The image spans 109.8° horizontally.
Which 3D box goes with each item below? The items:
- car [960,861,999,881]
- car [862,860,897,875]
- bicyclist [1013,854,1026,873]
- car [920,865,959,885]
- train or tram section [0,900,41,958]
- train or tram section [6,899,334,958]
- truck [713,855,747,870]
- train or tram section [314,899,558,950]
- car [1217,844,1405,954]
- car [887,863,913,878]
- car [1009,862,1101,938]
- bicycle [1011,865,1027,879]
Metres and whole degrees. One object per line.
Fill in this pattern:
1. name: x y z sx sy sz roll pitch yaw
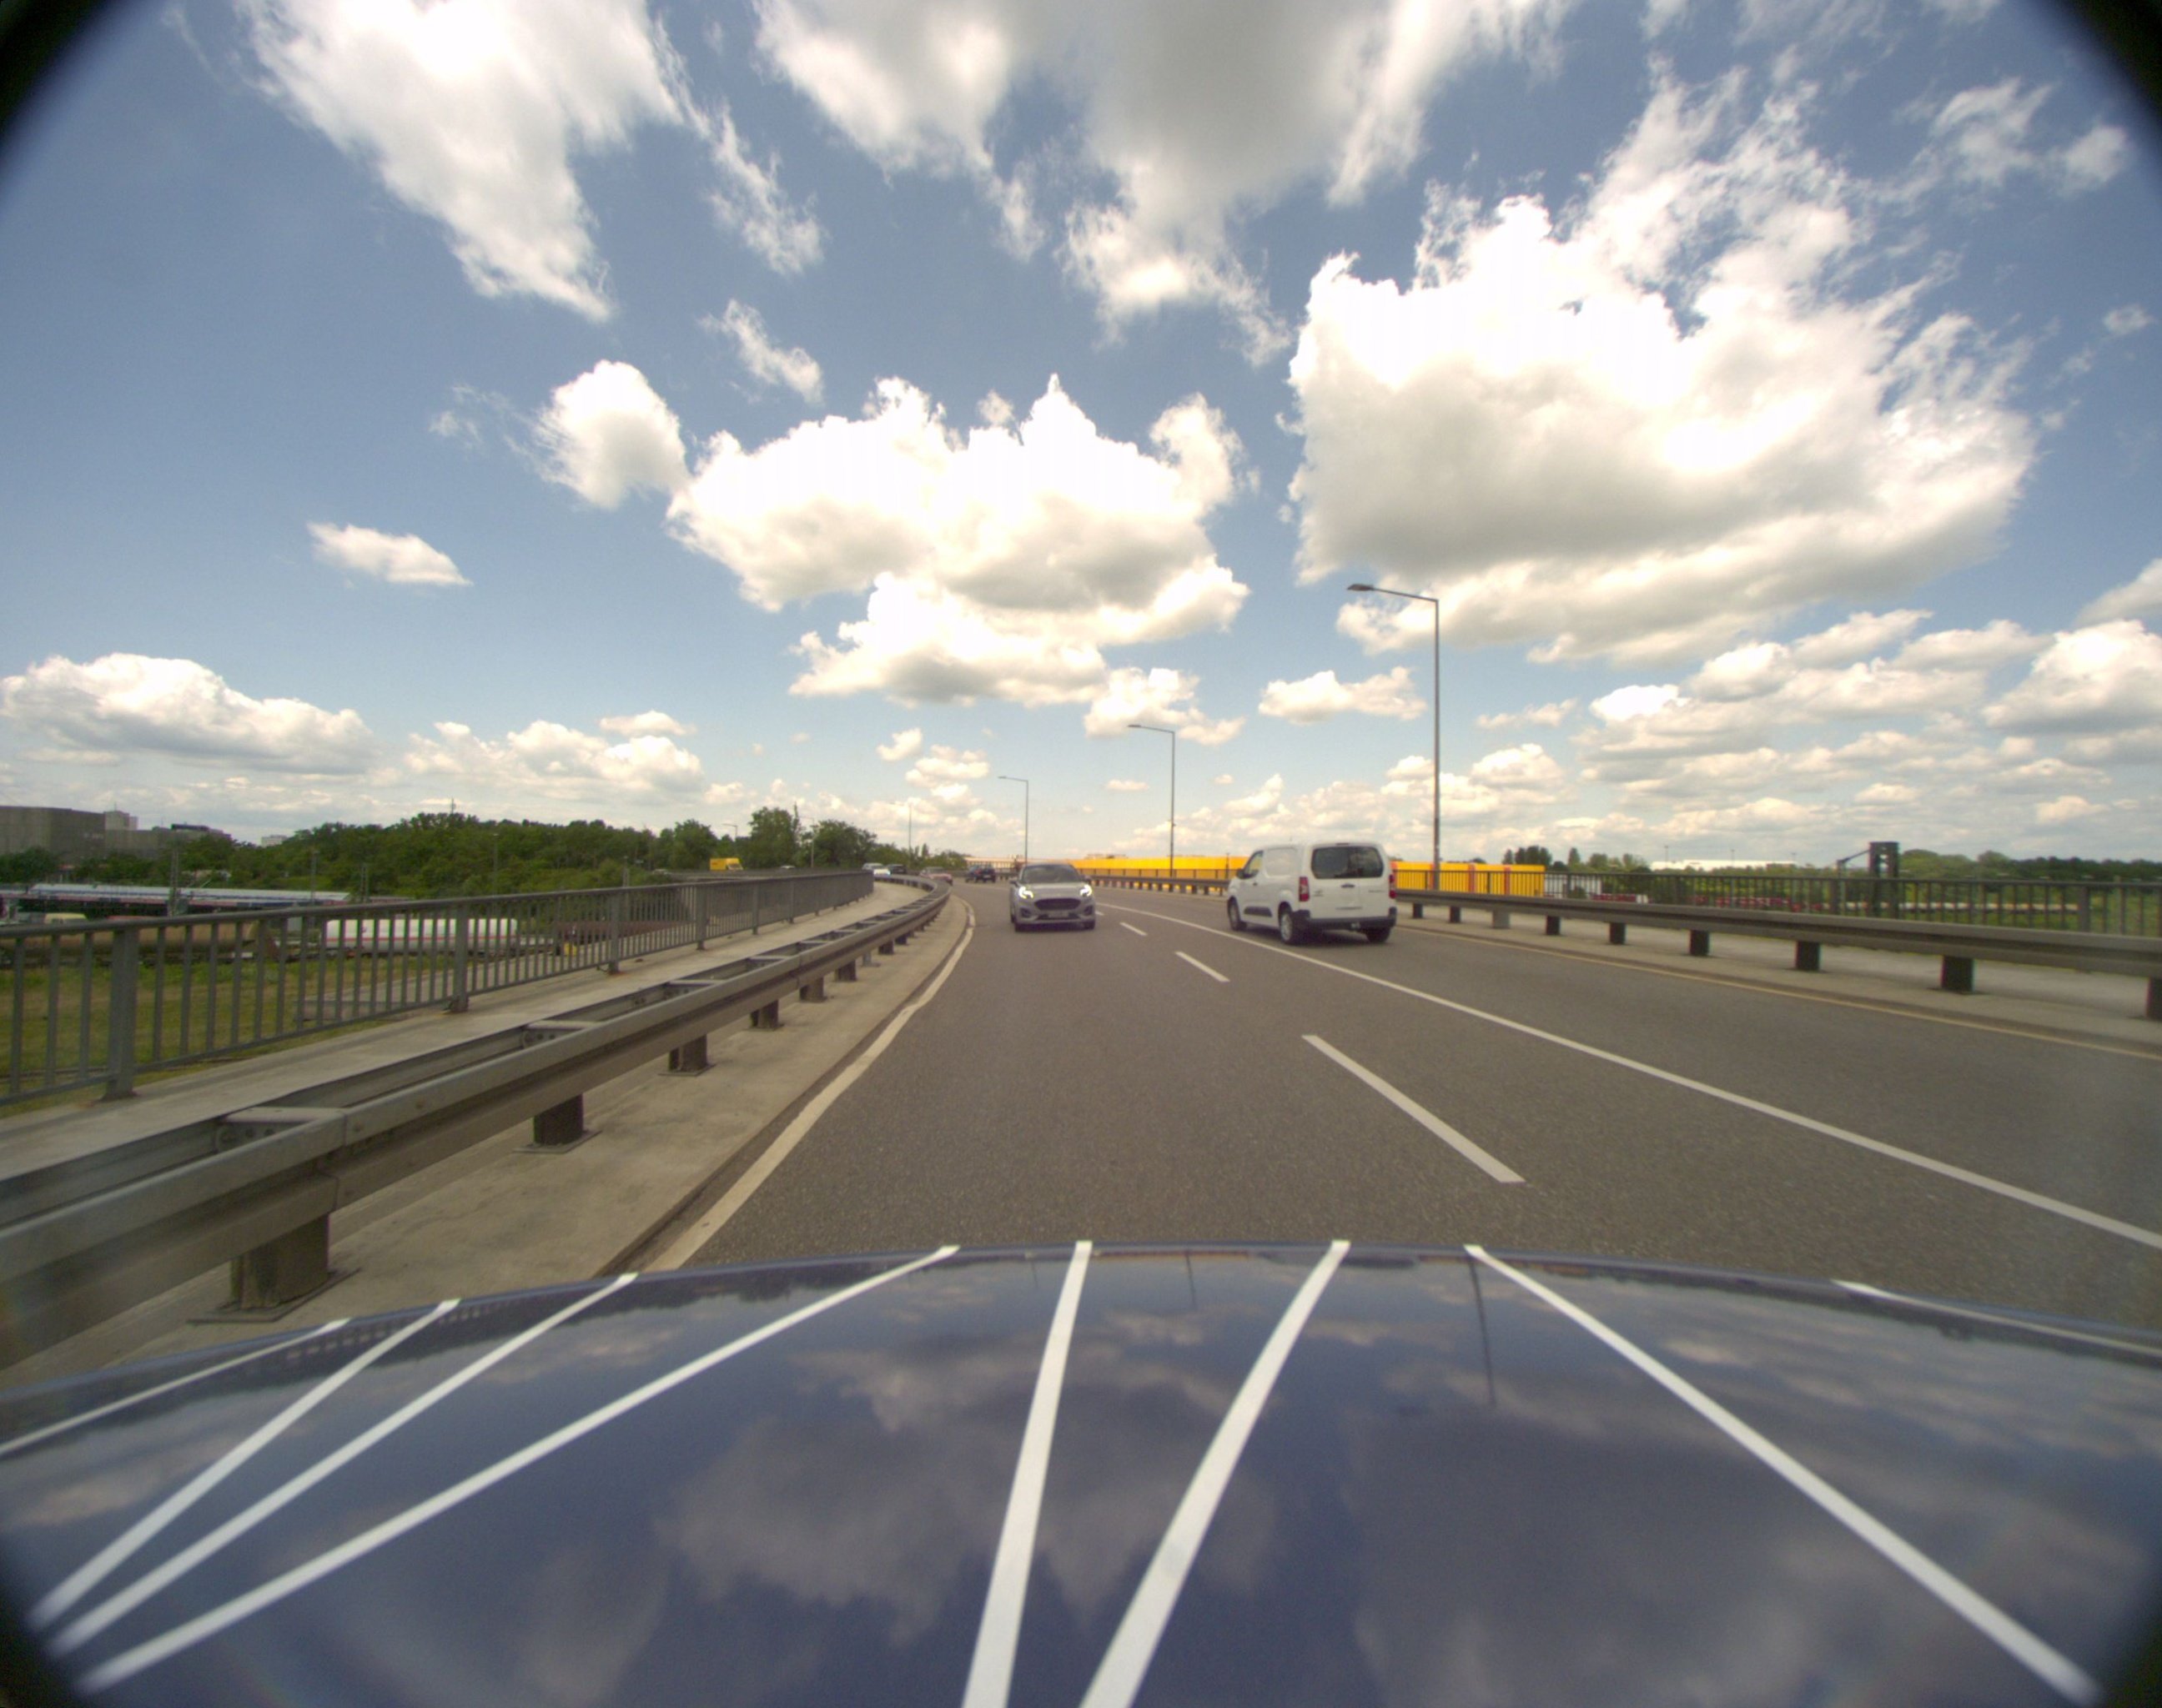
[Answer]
1. car: -7.852 1.271 58.639 1.823 1.443 3.918 -2 0 -26
2. car: -19.185 1.300 72.375 1.962 1.330 3.990 -3 1 -34
3. bicyclist: -5.184 0.810 63.995 0.770 1.593 0.946 0 0 -22
4. car: -9.872 1.432 52.875 1.831 1.330 3.993 -1 0 -22
5. train or tram section: -90.289 5.676 55.221 17.723 4.130 3.204 1 2 -27
6. train or tram section: -74.159 5.952 62.778 17.720 4.130 3.205 1 2 -24
7. truck: -50.329 1.207 108.939 6.127 2.002 2.005 0 0 40
8. train or tram section: -57.761 6.307 68.738 16.977 4.130 3.212 1 2 -16
9. car: 4.125 0.737 14.442 1.819 1.743 4.303 -1 0 -7
10. car: -19.226 1.747 80.535 1.825 1.442 4.728 -1 -1 -24
11. car: -0.736 0.997 18.165 1.829 1.516 3.998 -2 0 -7
12. bicycle: -5.233 1.510 64.113 0.772 1.088 2.111 0 0 -22
